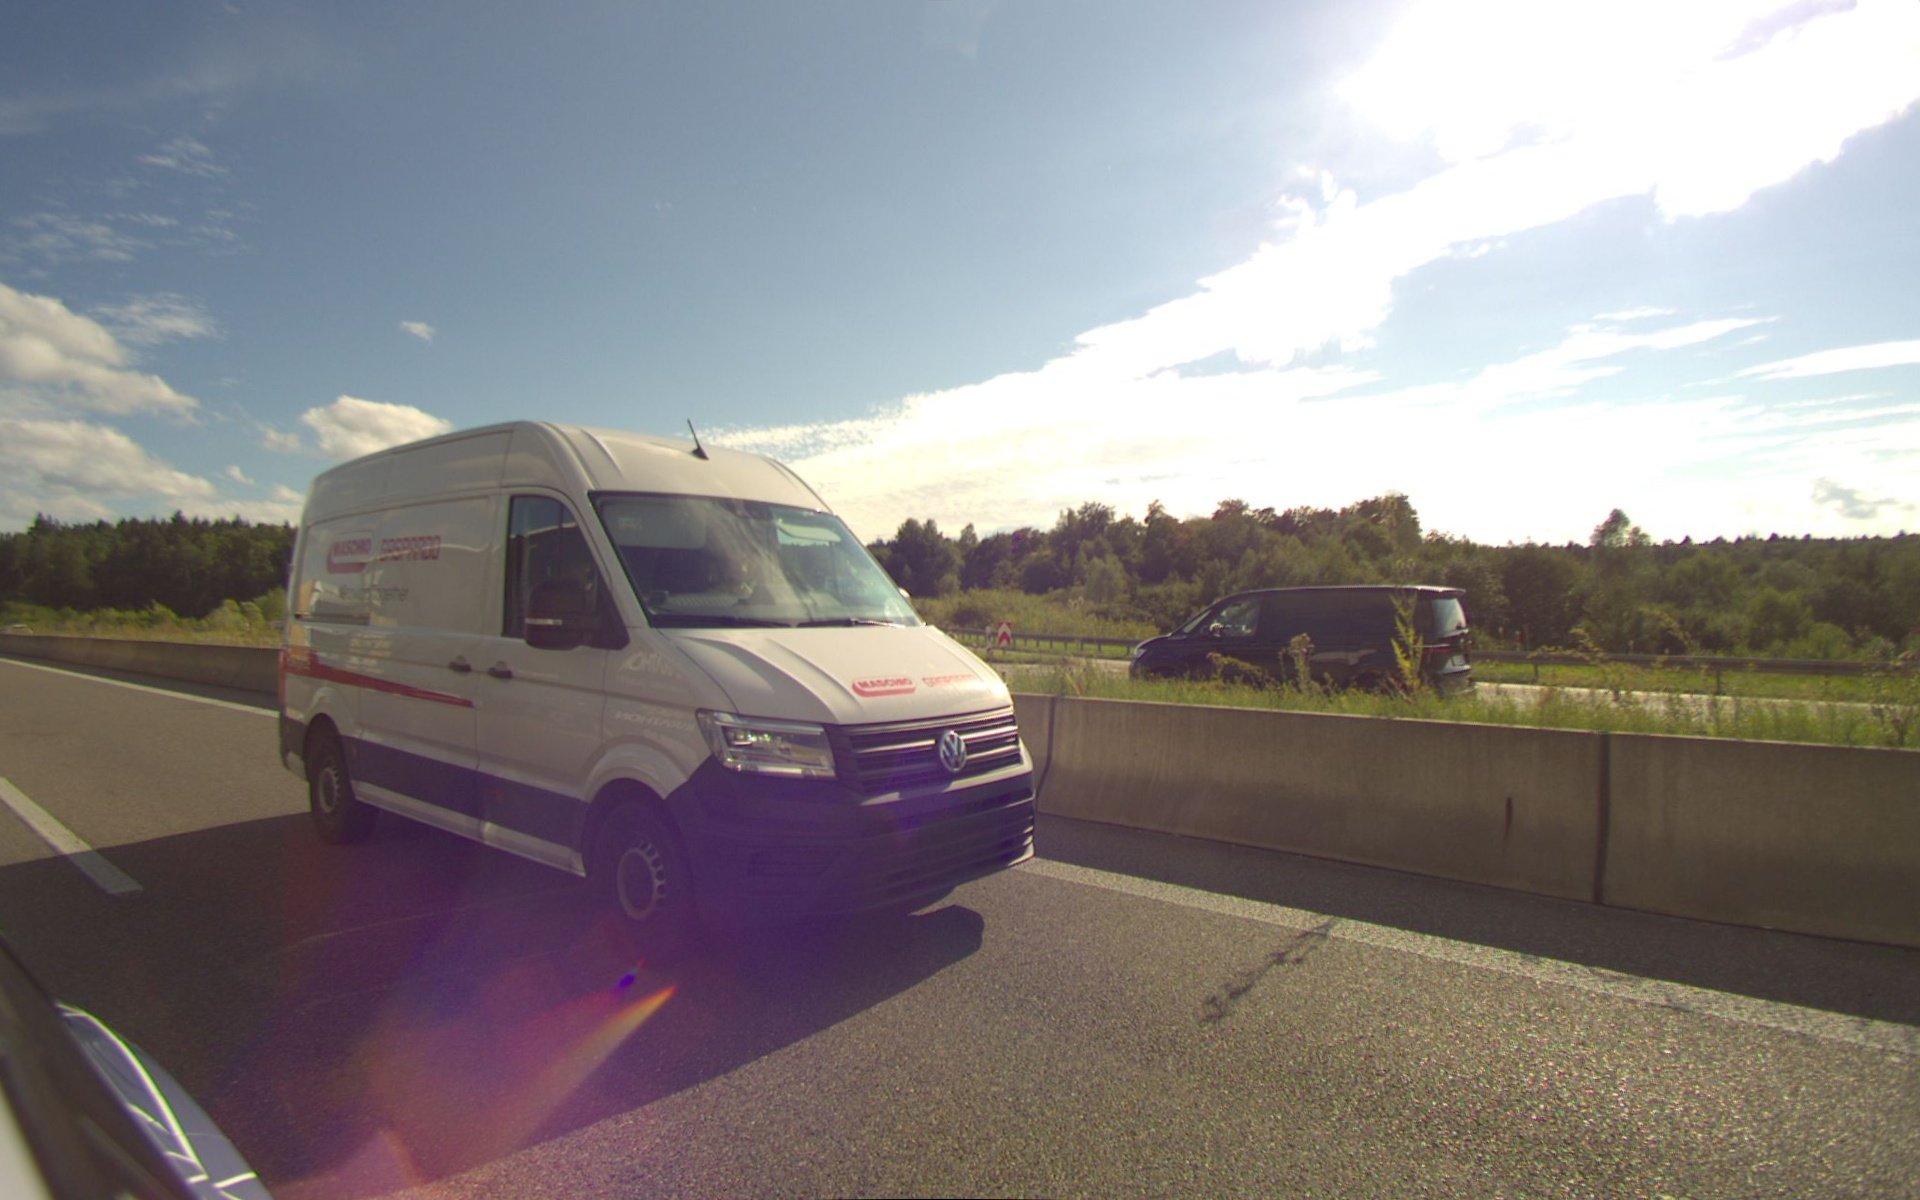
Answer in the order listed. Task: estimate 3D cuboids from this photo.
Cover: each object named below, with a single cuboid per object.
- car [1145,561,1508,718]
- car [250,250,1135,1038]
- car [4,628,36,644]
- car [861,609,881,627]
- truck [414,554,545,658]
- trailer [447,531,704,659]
[{"bbox_3d":[5.105,0.480,14.487,4.488,1.890,1.859,-1,1,42],"label":"car"},{"bbox_3d":[-2.167,0.224,6.132,6.176,2.619,1.995,-2,-2,40],"label":"car"},{"bbox_3d":[-98.259,3.781,105.781,4.931,1.487,1.899,-1,1,41],"label":"car"},{"bbox_3d":[-9.865,1.972,112.236,1.969,1.813,4.985,-2,1,-7],"label":"car"},{"bbox_3d":[-19.915,0.256,41.821,5.830,4.006,2.790,-1,-1,41],"label":"truck"},{"bbox_3d":[-14.545,-0.063,37.127,13.542,4.022,2.803,-1,-1,41],"label":"trailer"}]
